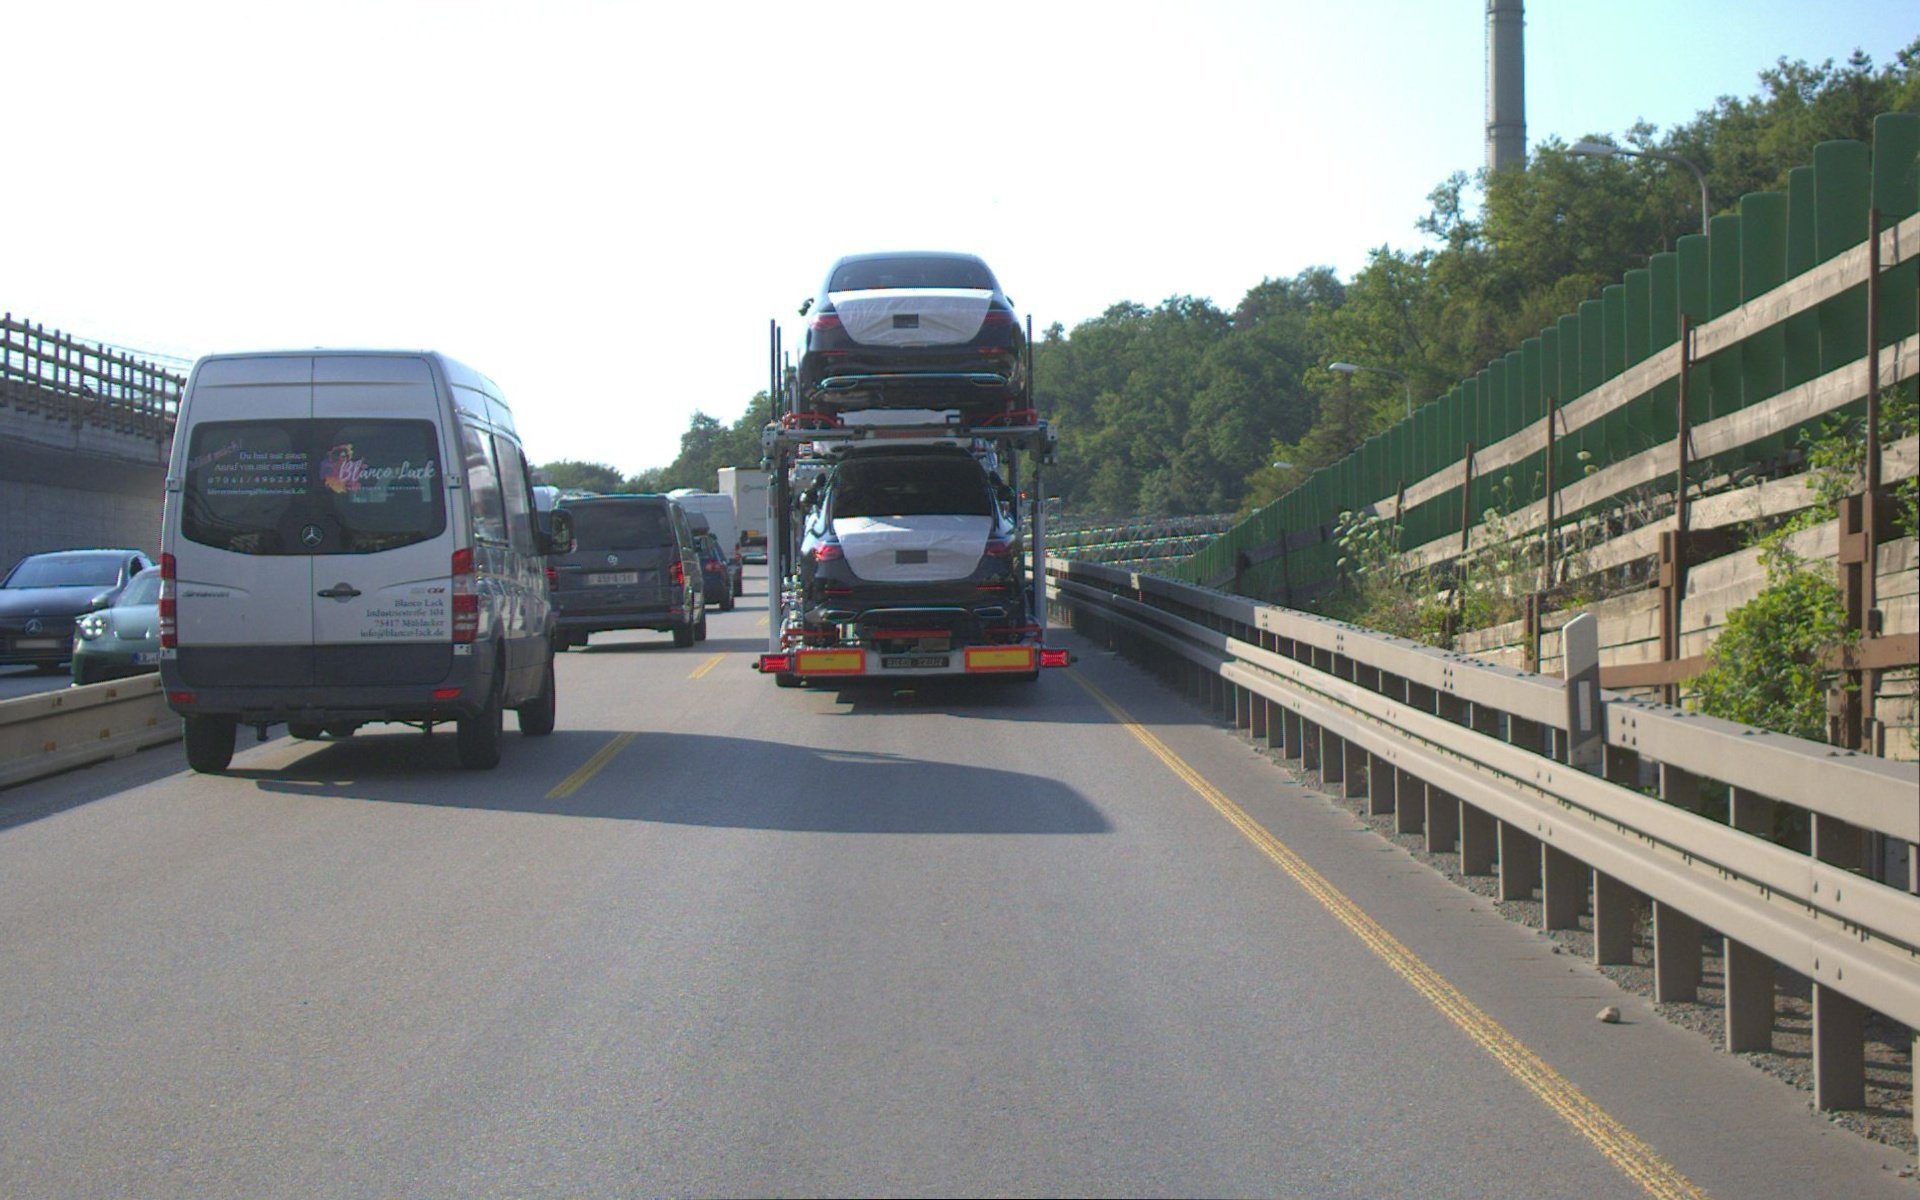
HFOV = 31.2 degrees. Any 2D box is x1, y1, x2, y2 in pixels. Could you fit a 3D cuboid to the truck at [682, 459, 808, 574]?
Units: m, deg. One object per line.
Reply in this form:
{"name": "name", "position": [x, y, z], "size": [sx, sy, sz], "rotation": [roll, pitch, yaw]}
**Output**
{"name": "truck", "position": [-9.171, -3.477, 145.159], "size": [4.064, 4.663, 10.595], "rotation": [0, 1, -10]}

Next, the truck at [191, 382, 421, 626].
{"name": "truck", "position": [-11.985, -1.732, 63.873], "size": [2.624, 4.098, 9.629], "rotation": [-2, 1, -2]}

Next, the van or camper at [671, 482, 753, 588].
{"name": "van or camper", "position": [-6.326, -1.621, 88.020], "size": [1.968, 2.583, 5.042], "rotation": [1, 0, -3]}

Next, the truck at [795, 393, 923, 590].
{"name": "truck", "position": [-2.546, -2.596, 84.256], "size": [2.907, 4.591, 7.287], "rotation": [0, 1, -3]}

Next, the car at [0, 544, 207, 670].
{"name": "car", "position": [-10.865, 0.051, 42.873], "size": [1.972, 1.416, 4.900], "rotation": [-2, 1, -2]}

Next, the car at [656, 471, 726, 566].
{"name": "car", "position": [-14.872, -4.445, 189.260], "size": [3.444, 5.018, 9.655], "rotation": [1, 1, -6]}

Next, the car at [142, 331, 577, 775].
{"name": "car", "position": [-3.883, -0.328, 23.232], "size": [1.993, 2.639, 5.531], "rotation": [0, 1, 0]}

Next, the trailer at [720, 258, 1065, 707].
{"name": "trailer", "position": [-0.542, -0.965, 35.080], "size": [2.682, 3.523, 15.288], "rotation": [1, 0, 0]}

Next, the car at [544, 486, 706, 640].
{"name": "car", "position": [-4.354, -0.457, 45.158], "size": [1.808, 1.897, 4.000], "rotation": [1, 0, -2]}

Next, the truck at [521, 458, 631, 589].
{"name": "truck", "position": [-13.076, -2.568, 118.138], "size": [2.982, 4.139, 15.858], "rotation": [1, 1, -4]}

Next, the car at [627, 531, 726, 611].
{"name": "car", "position": [-5.653, -0.605, 68.842], "size": [1.725, 1.517, 3.973], "rotation": [1, 1, -2]}

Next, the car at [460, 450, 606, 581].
{"name": "car", "position": [-8.562, -1.669, 69.206], "size": [2.471, 2.525, 4.000], "rotation": [1, 0, -1]}

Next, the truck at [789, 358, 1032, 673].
{"name": "truck", "position": [-0.561, -0.969, 42.596], "size": [2.682, 3.523, 7.193], "rotation": [1, 0, 0]}

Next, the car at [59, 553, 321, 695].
{"name": "car", "position": [-7.662, 0.194, 34.582], "size": [1.781, 1.320, 4.240], "rotation": [0, 1, -1]}
